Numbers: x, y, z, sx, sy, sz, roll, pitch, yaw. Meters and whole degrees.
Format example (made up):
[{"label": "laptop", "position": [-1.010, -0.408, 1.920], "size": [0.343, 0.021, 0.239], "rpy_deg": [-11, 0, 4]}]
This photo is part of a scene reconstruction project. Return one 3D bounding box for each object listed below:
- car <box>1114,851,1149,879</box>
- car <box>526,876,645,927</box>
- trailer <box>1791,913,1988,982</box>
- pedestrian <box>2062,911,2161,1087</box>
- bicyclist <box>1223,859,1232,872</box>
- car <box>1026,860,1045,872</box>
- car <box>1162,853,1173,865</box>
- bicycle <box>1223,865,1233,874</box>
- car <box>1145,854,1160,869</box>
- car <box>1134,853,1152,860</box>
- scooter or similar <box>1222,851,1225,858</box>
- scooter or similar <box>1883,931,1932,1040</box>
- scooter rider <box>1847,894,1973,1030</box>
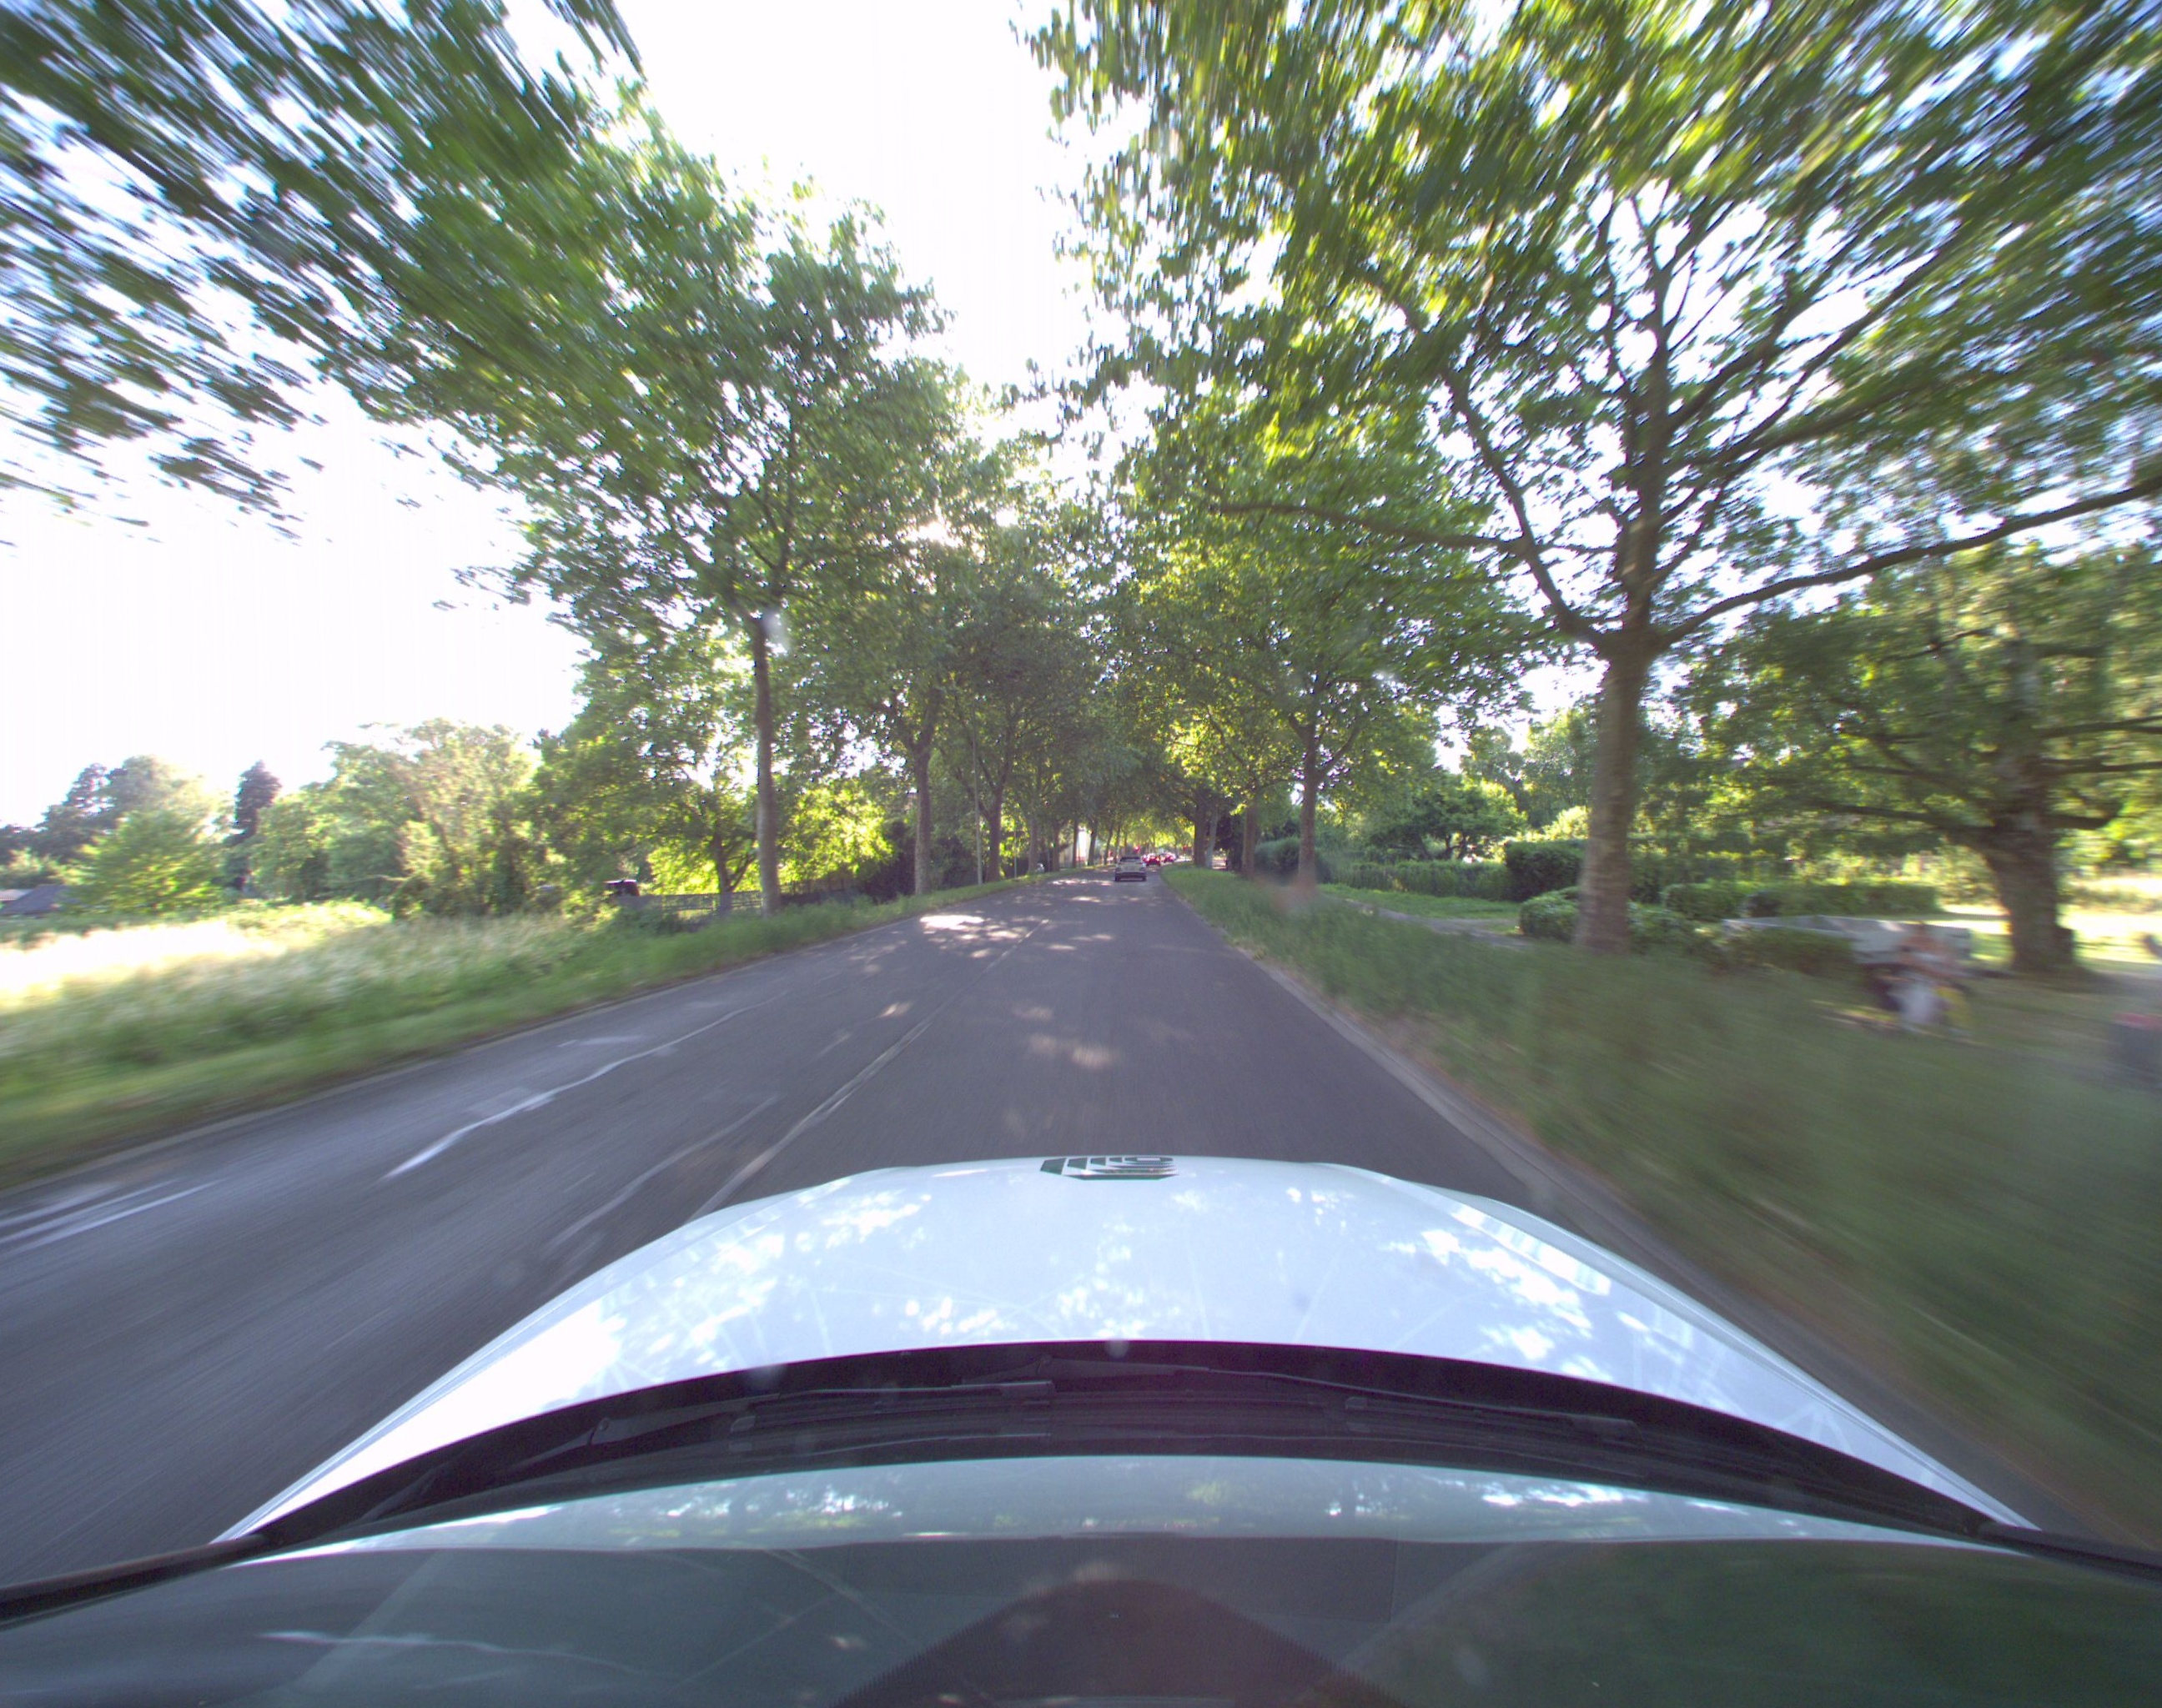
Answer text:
[{"label": "car", "position": [3.022, 0.619, 48.629], "size": [1.985, 1.574, 4.004], "rpy_deg": [-1, -1, 4]}, {"label": "car", "position": [-20.859, 1.995, 34.315], "size": [3.960, 2.014, 2.007], "rpy_deg": [-1, -1, 12]}, {"label": "trailer", "position": [13.826, 1.589, 14.007], "size": [2.106, 1.052, 1.203], "rpy_deg": [-1, -1, 6]}, {"label": "pedestrian", "position": [10.463, 1.380, 7.776], "size": [0.846, 1.576, 1.197], "rpy_deg": [0, -1, -24]}, {"label": "bicyclist", "position": [15.130, 1.159, 83.995], "size": [0.732, 1.366, 0.770], "rpy_deg": [-1, -1, -3]}, {"label": "car", "position": [-5.340, 1.390, 96.023], "size": [1.744, 1.304, 4.004], "rpy_deg": [-3, 1, 3]}, {"label": "car", "position": [15.467, 0.867, 145.501], "size": [1.984, 2.014, 4.006], "rpy_deg": [-1, -1, 5]}, {"label": "bicycle", "position": [15.133, 1.596, 83.760], "size": [0.551, 0.817, 1.886], "rpy_deg": [-1, -1, -4]}, {"label": "car", "position": [9.625, 1.026, 109.323], "size": [1.984, 2.014, 4.005], "rpy_deg": [-1, -1, 5]}, {"label": "car", "position": [13.822, 0.645, 181.519], "size": [3.962, 1.478, 2.005], "rpy_deg": [-1, -1, 10]}, {"label": "scooter or similar", "position": [26.918, 0.089, 153.738], "size": [0.546, 1.258, 2.320], "rpy_deg": [-1, -1, 10]}, {"label": "scooter or similar", "position": [10.213, 1.580, 10.050], "size": [1.608, 1.135, 0.337], "rpy_deg": [0, -1, -42]}, {"label": "scooter rider", "position": [10.407, 1.313, 10.245], "size": [0.844, 1.576, 0.780], "rpy_deg": [-1, -1, -17]}]
